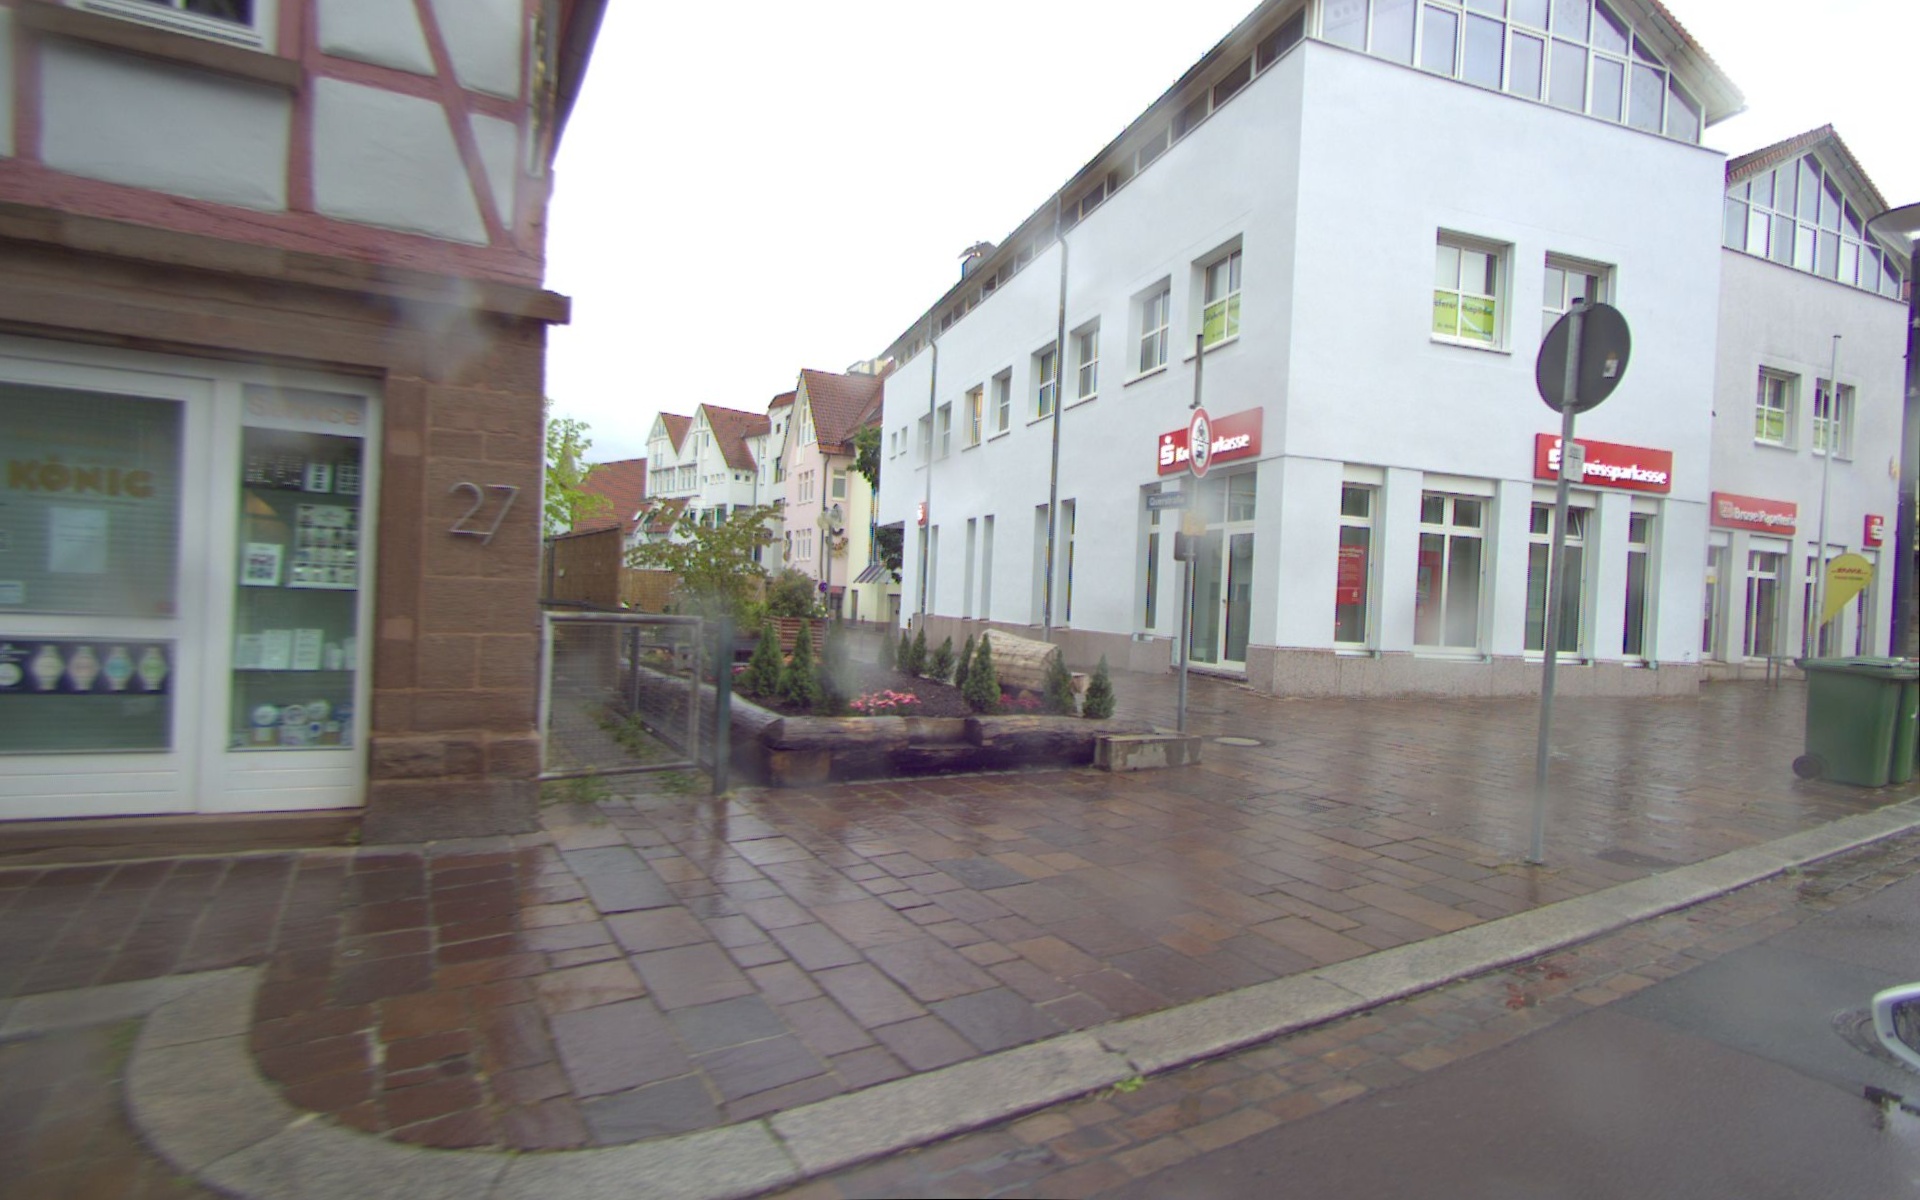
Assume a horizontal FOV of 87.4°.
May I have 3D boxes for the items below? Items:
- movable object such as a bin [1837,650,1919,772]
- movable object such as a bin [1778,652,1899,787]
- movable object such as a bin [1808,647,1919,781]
[{"bbox_3d":[9.085,1.061,9.789,0.607,1.110,0.654,2,0,-34],"label":"movable object such as a bin"},{"bbox_3d":[7.742,1.029,8.859,0.546,1.097,0.655,2,0,-32],"label":"movable object such as a bin"},{"bbox_3d":[8.246,1.009,9.145,0.546,1.129,0.655,2,0,-32],"label":"movable object such as a bin"}]
